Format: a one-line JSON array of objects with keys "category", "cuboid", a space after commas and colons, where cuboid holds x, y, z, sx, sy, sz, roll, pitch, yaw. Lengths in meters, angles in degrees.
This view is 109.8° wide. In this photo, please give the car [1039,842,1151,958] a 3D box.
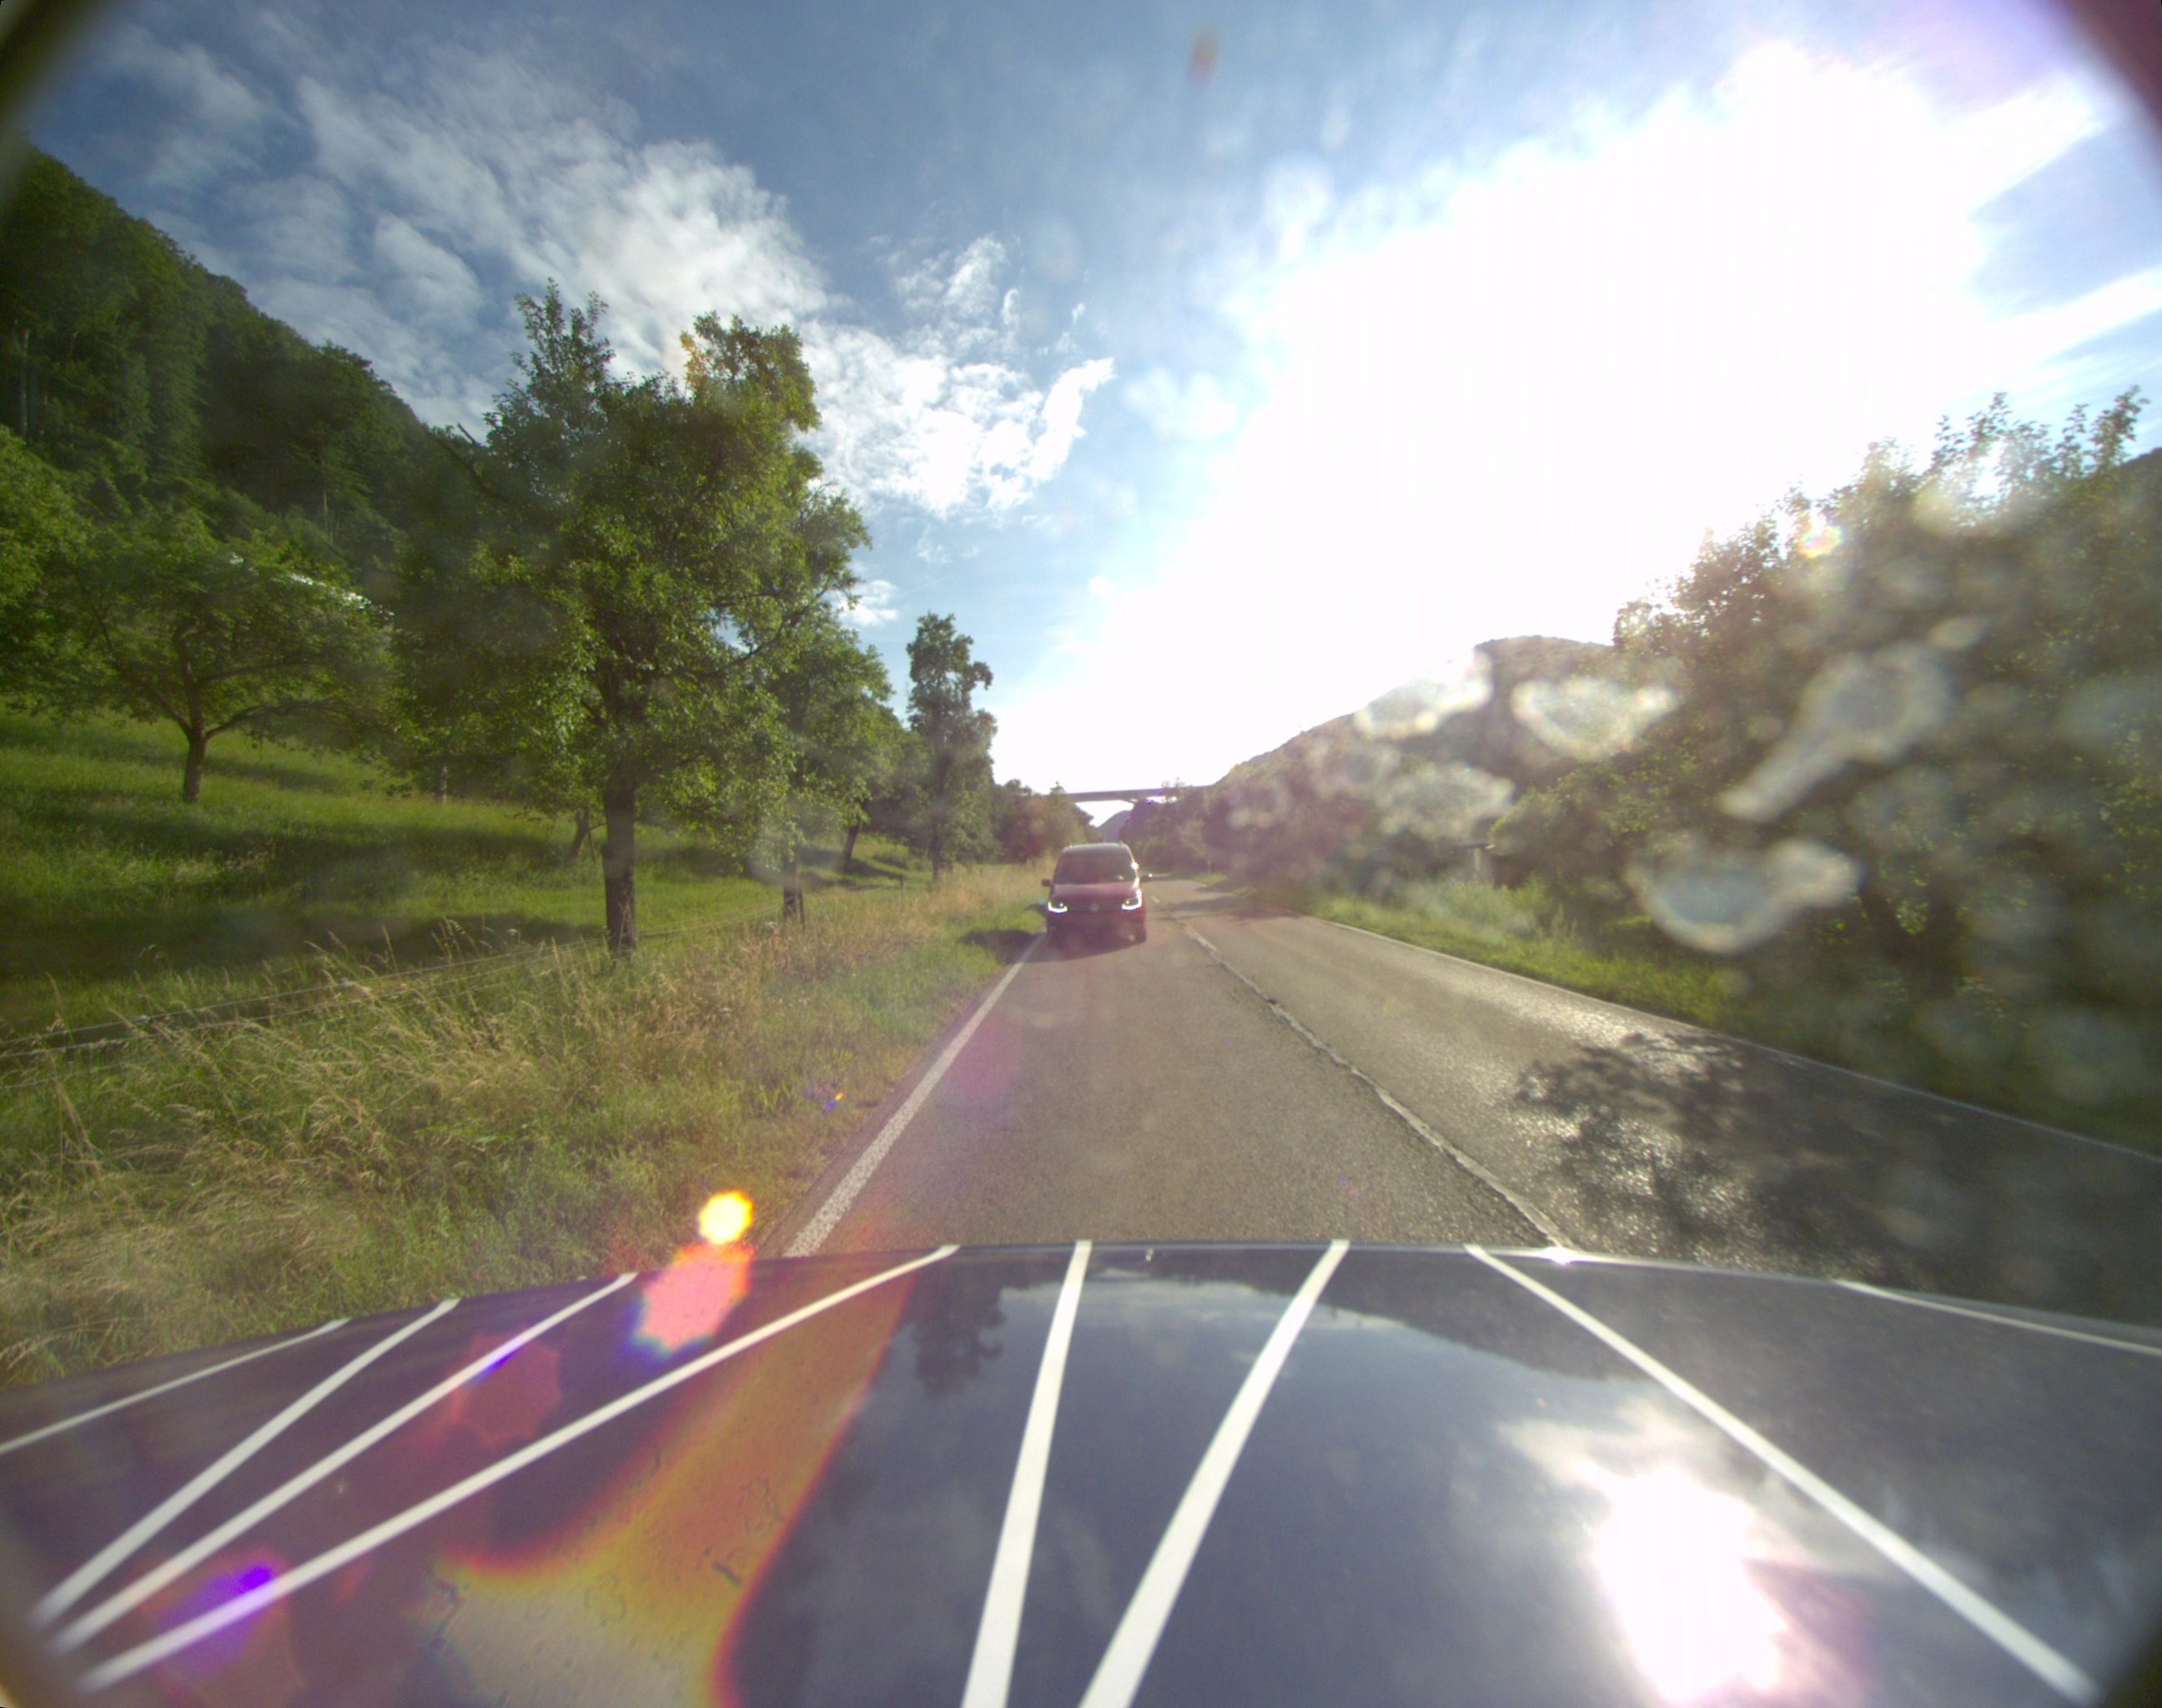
[{"category": "car", "cuboid": [0.230, 0.760, 14.431, 1.741, 1.803, 4.000, -3, 0, 0]}]
